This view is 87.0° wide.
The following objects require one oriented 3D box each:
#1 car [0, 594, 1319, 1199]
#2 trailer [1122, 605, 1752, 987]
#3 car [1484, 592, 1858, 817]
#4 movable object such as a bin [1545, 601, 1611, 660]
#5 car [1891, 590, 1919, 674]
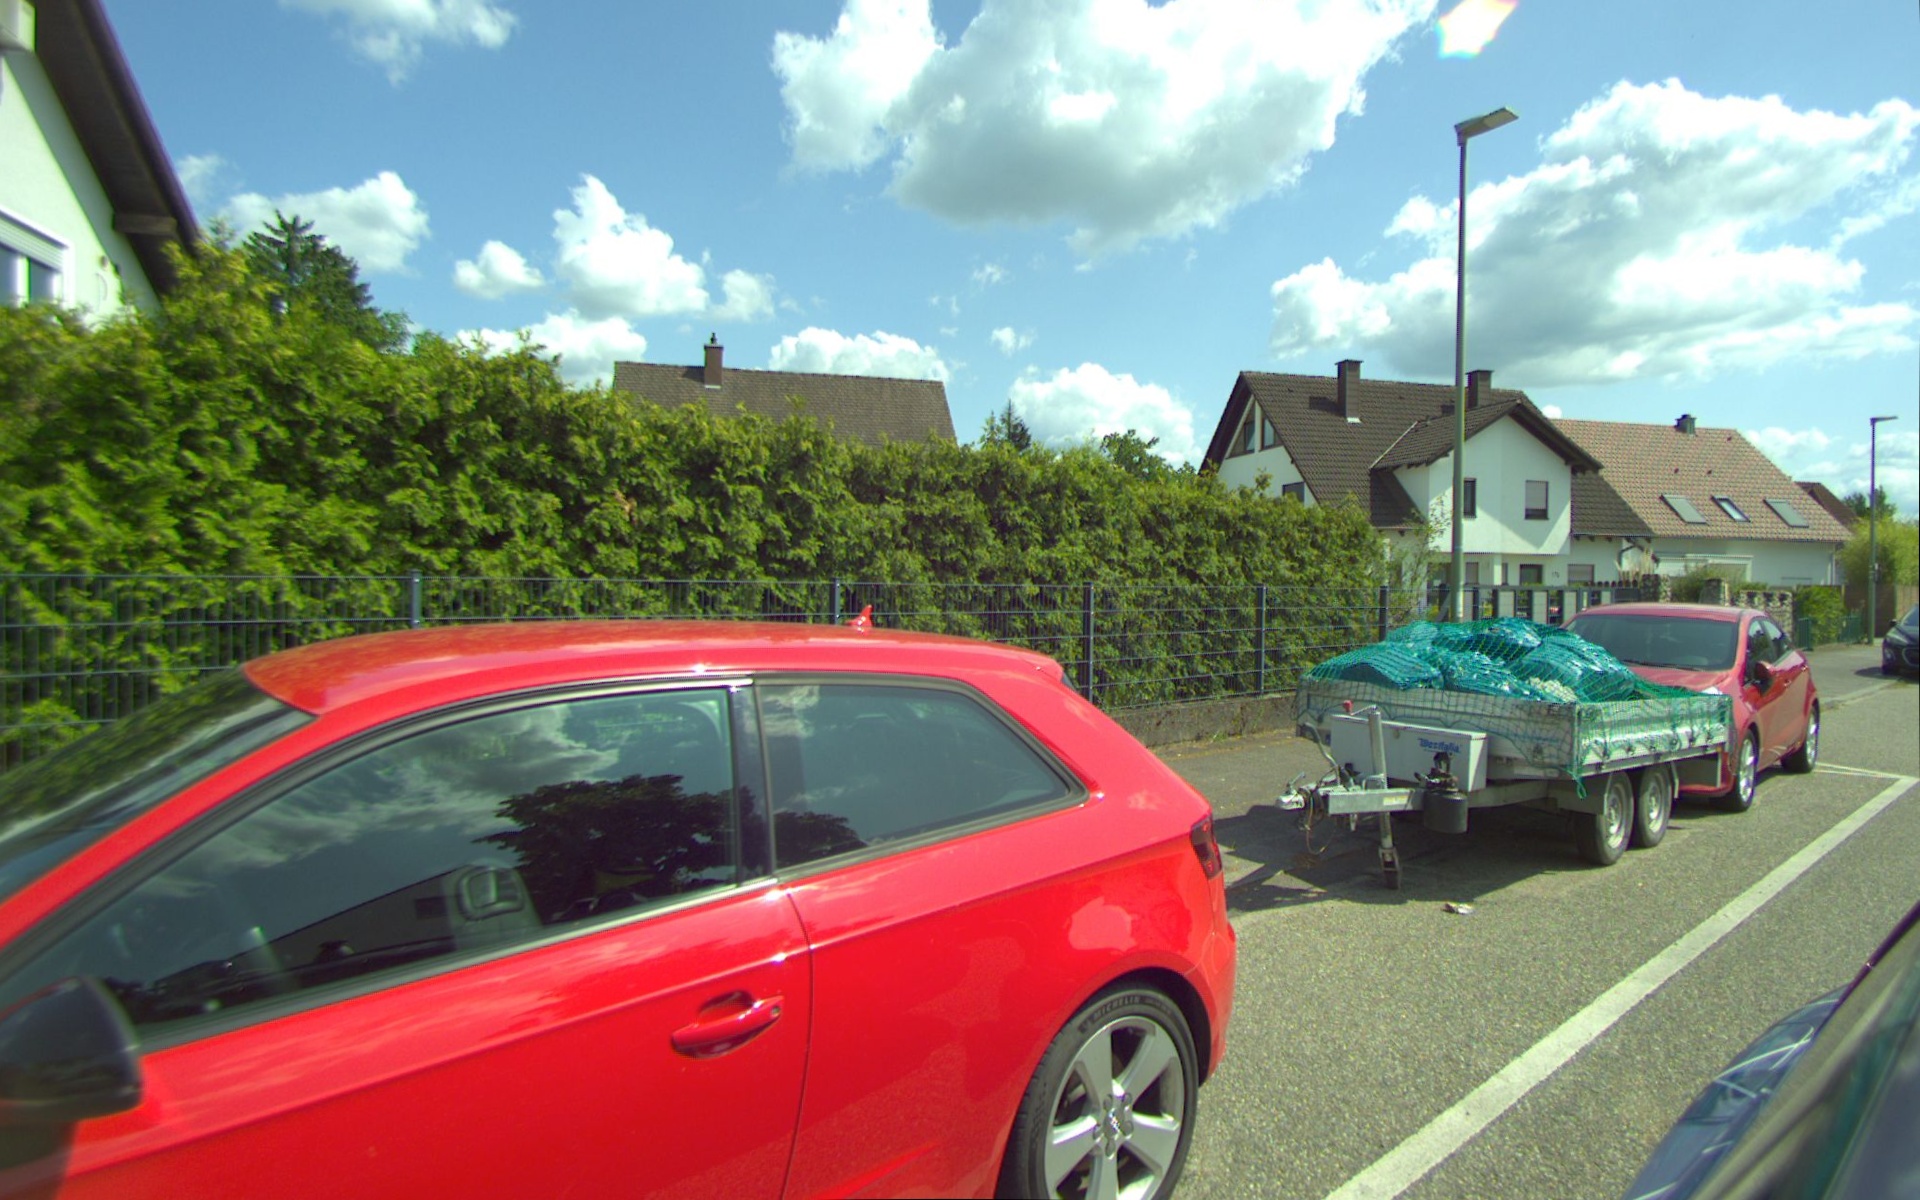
[{"bbox_3d":[-1.152,0.722,2.052,4.071,1.453,1.688,0,1,-39],"label":"car"},{"bbox_3d":[3.003,0.757,5.877,4.353,1.395,1.611,0,1,-39],"label":"trailer"},{"bbox_3d":[6.439,0.678,8.921,4.674,1.481,1.694,0,1,-42],"label":"car"},{"bbox_3d":[11.710,0.568,19.180,0.751,1.071,0.779,0,0,-23],"label":"movable object such as a bin"},{"bbox_3d":[19.960,0.621,20.074,4.050,1.570,1.747,0,2,-41],"label":"car"}]
